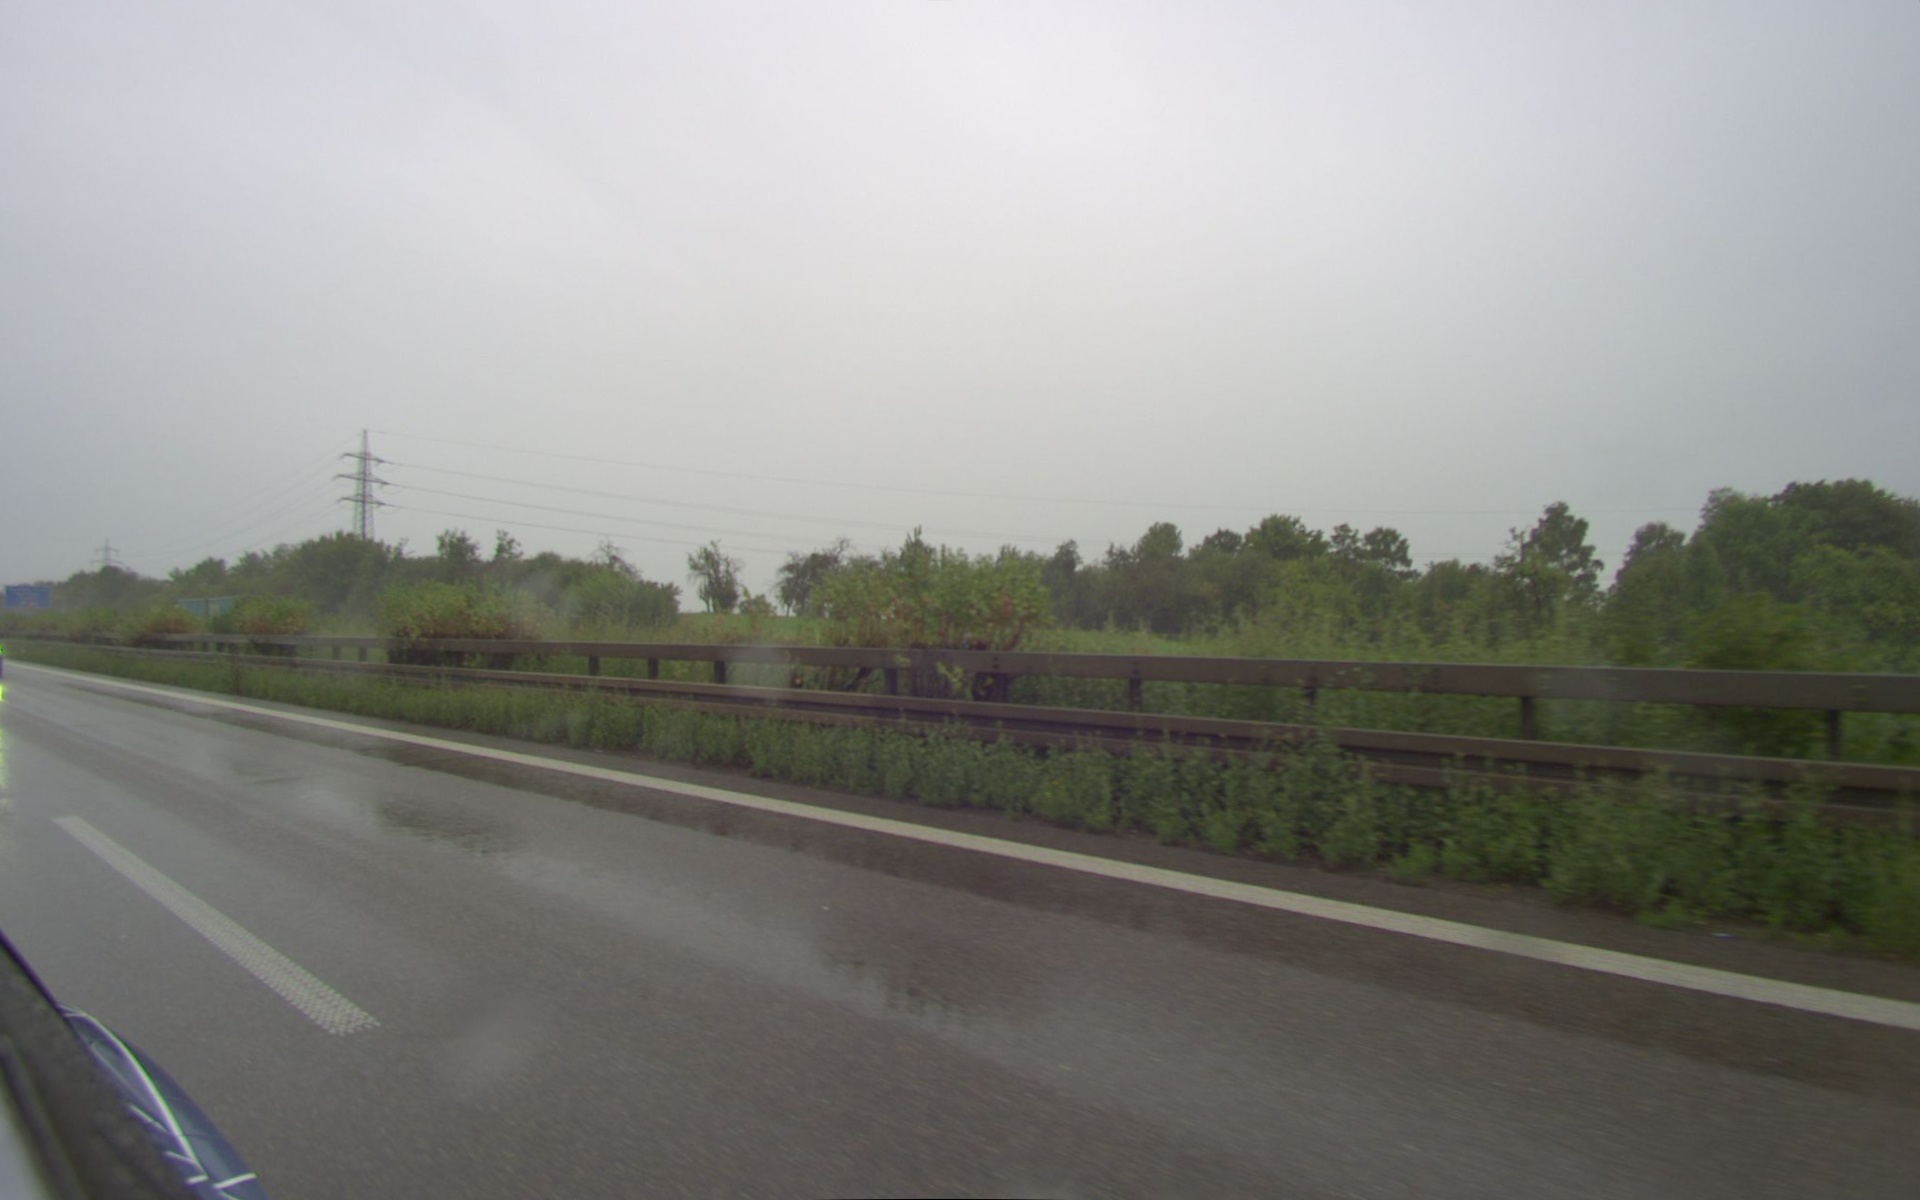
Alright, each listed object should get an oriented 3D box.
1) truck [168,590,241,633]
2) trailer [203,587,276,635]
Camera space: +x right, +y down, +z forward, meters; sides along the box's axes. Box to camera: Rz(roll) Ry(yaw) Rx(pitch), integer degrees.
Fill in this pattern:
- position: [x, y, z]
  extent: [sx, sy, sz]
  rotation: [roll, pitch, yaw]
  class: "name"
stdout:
- position: [-56.762, 0.871, 75.895]
  extent: [10.611, 3.059, 2.216]
  rotation: [-1, 0, 41]
  class: "truck"
- position: [-49.660, 0.758, 69.631]
  extent: [8.261, 3.088, 2.223]
  rotation: [-1, 0, 41]
  class: "trailer"
